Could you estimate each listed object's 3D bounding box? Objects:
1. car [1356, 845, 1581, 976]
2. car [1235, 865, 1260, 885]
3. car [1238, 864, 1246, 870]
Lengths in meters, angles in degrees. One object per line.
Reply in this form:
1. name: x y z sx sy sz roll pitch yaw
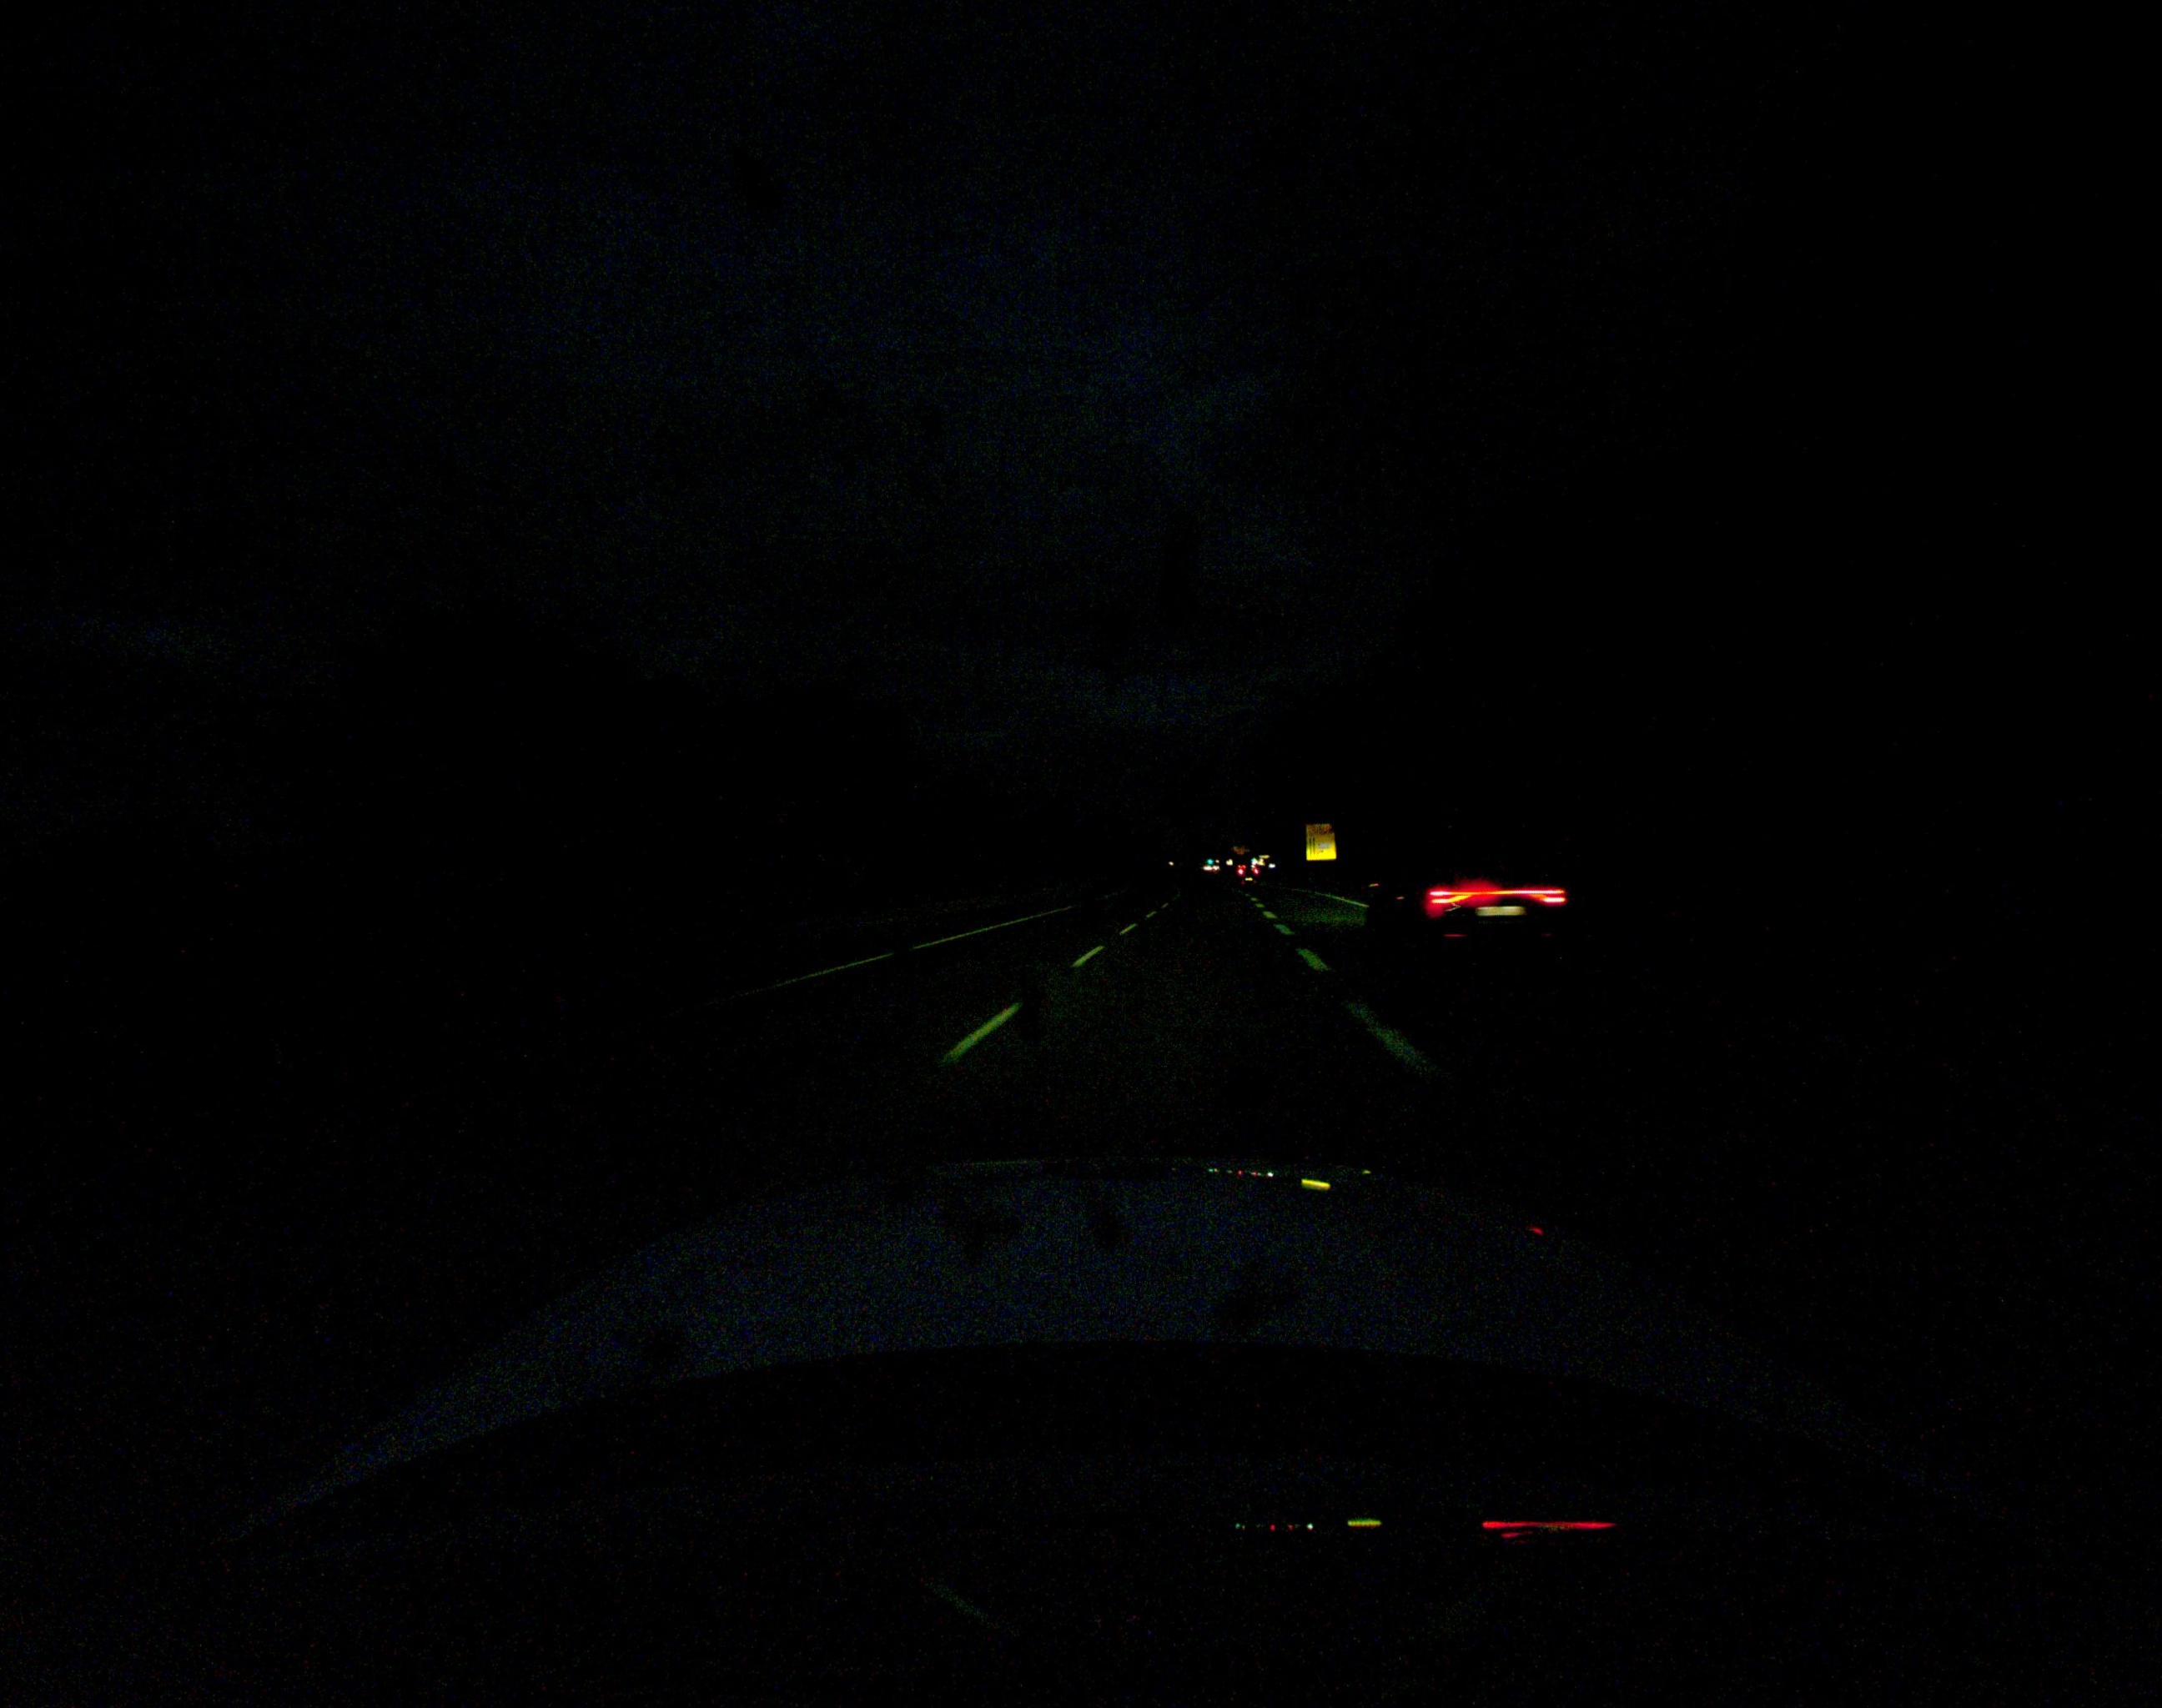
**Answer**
1. car: 5.631 0.759 12.542 1.889 1.620 4.568 -2 -1 9
2. car: 12.867 1.589 63.067 1.742 1.453 4.445 -2 -1 10
3. car: 48.744 3.922 246.620 1.980 1.750 4.012 -6 -3 11
